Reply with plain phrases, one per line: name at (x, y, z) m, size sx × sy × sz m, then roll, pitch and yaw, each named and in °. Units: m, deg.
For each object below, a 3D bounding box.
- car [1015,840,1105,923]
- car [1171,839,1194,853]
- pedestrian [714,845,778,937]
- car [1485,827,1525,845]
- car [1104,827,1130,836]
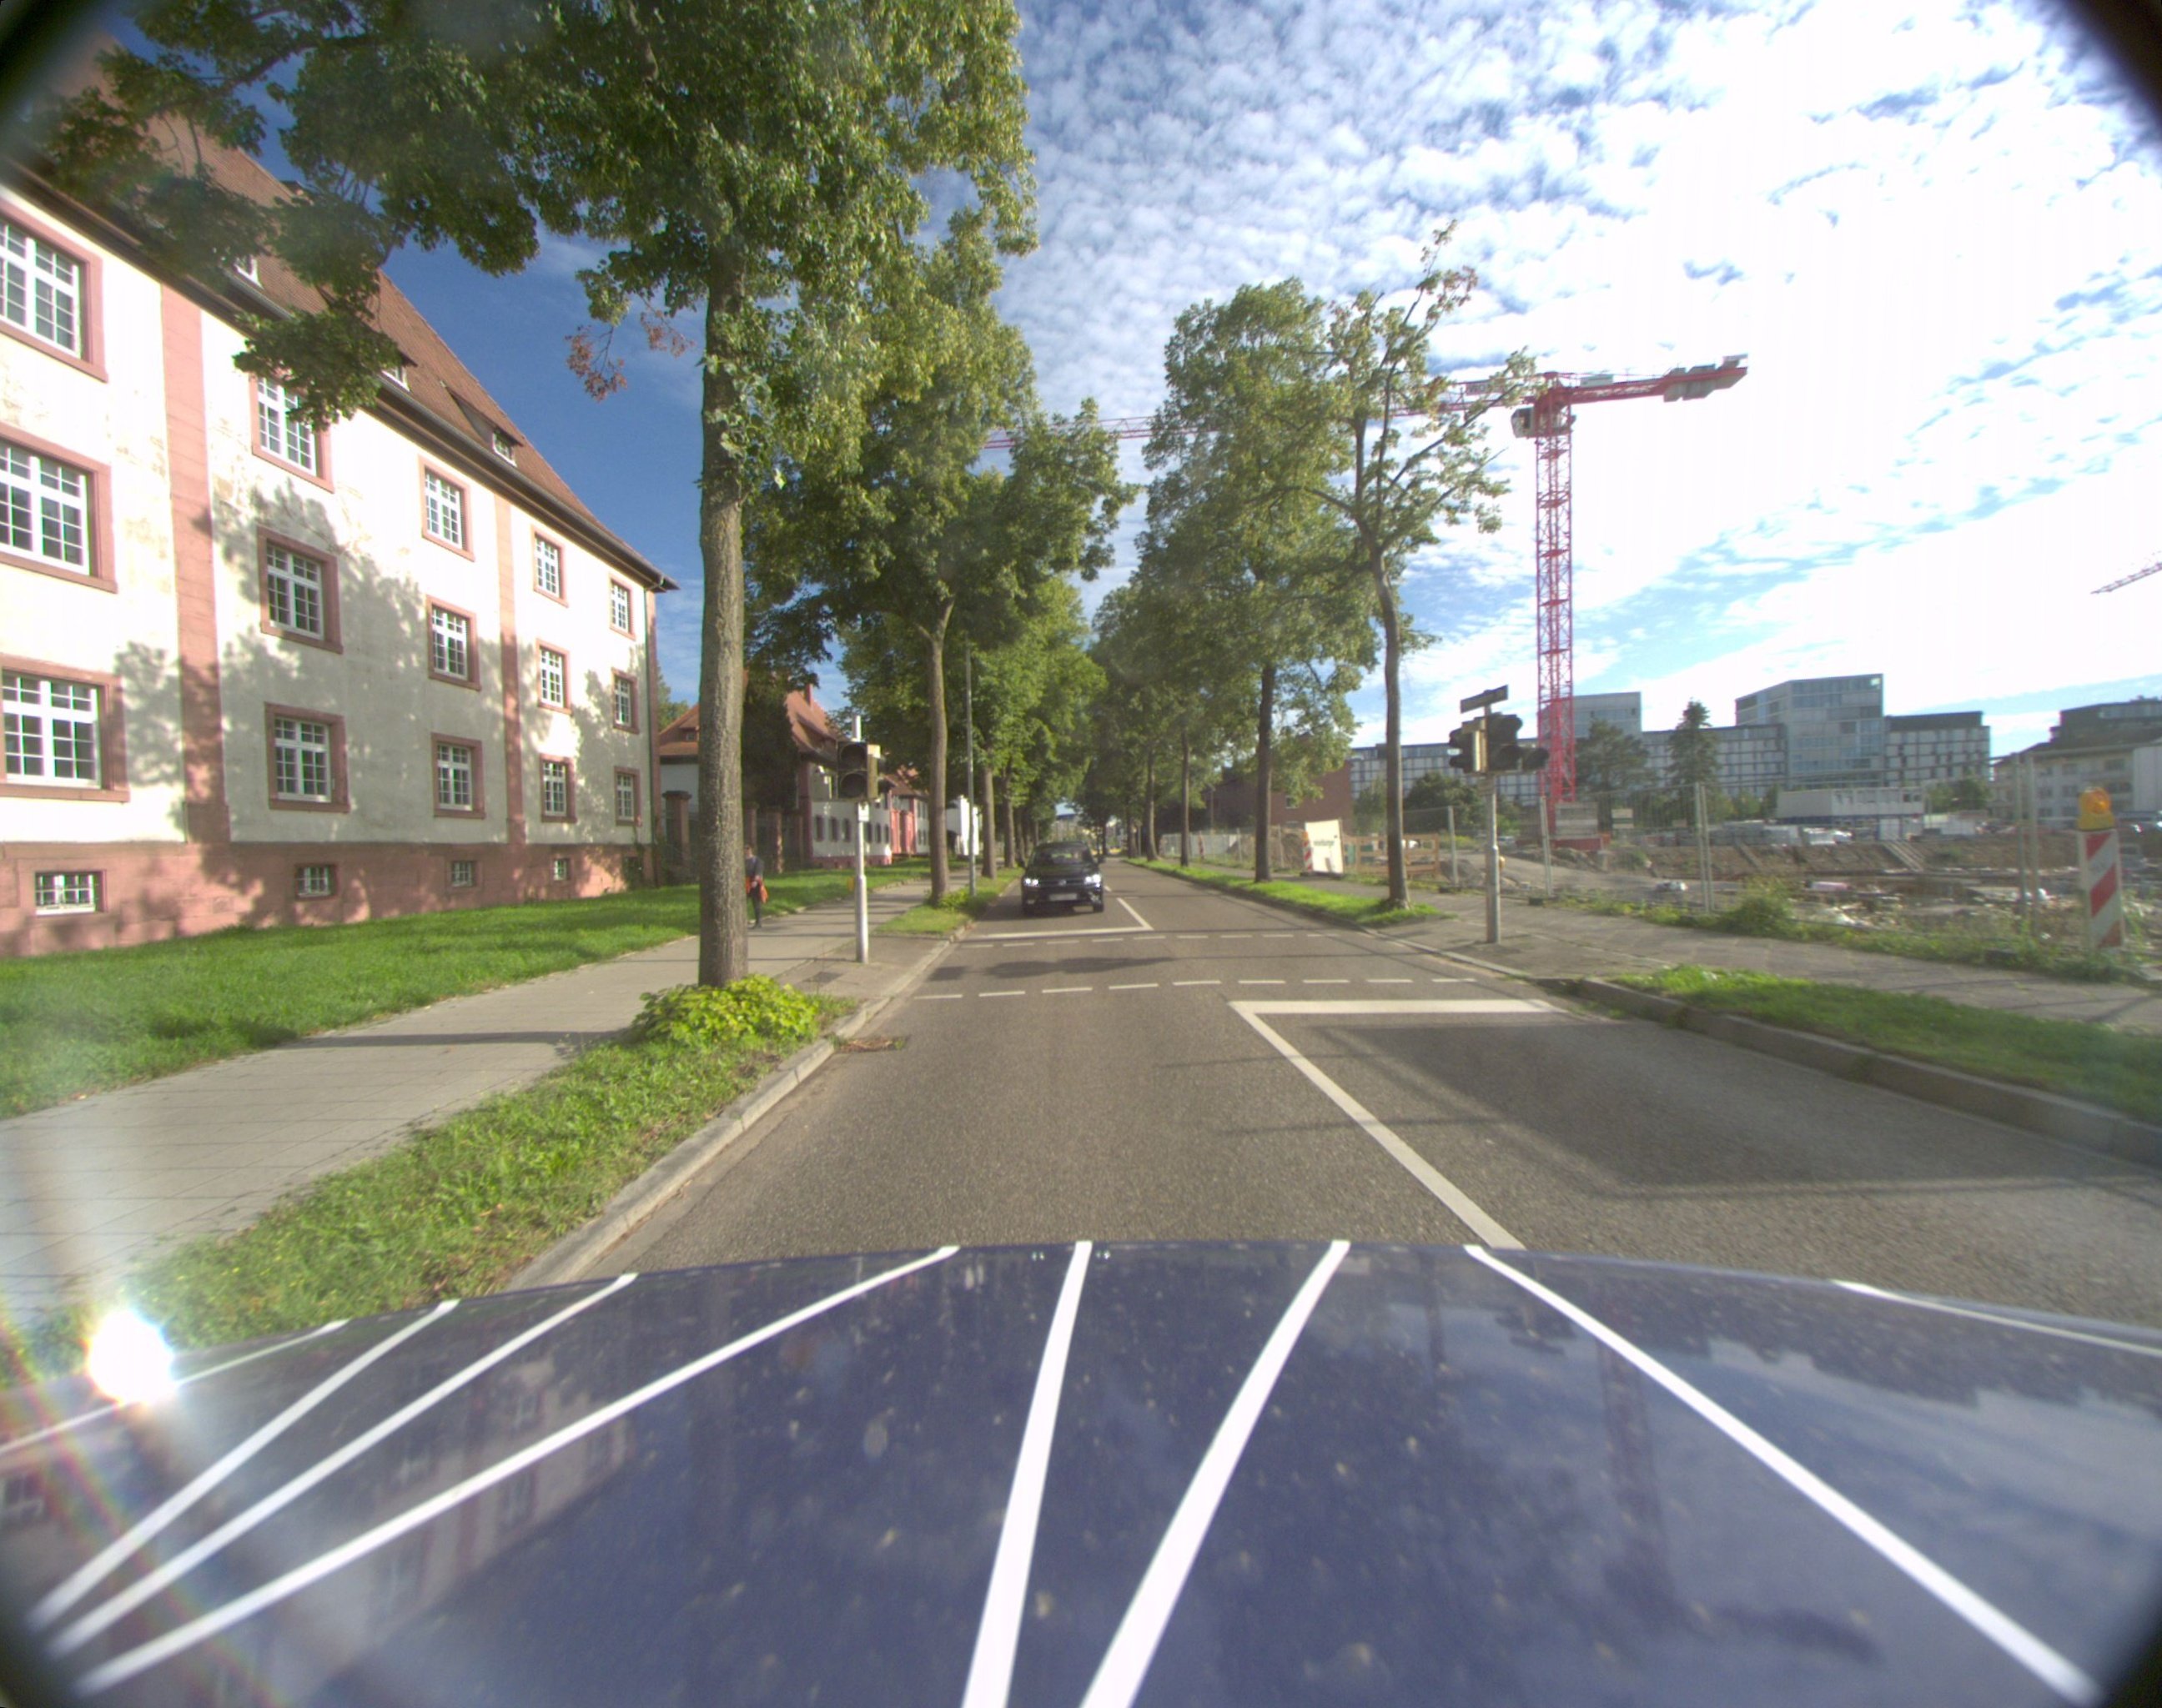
car at (-0.439, 0.563, 18.025) m, size 1.821 × 1.648 × 4.242 m, roll -3°, pitch 1°, yaw 0°
car at (11.106, -0.918, 83.416) m, size 1.998 × 1.421 × 4.506 m, roll -1°, pitch 2°, yaw 1°
pedestrian at (-5.987, 0.642, 13.607) m, size 0.816 × 1.581 × 0.769 m, roll 1°, pitch 2°, yaw -3°
car at (45.763, -1.932, 82.099) m, size 1.818 × 1.797 × 3.980 m, roll -3°, pitch 3°, yaw -7°
car at (8.590, -5.338, 183.051) m, size 6.235 × 1.856 × 2.482 m, roll -1°, pitch 2°, yaw 45°
